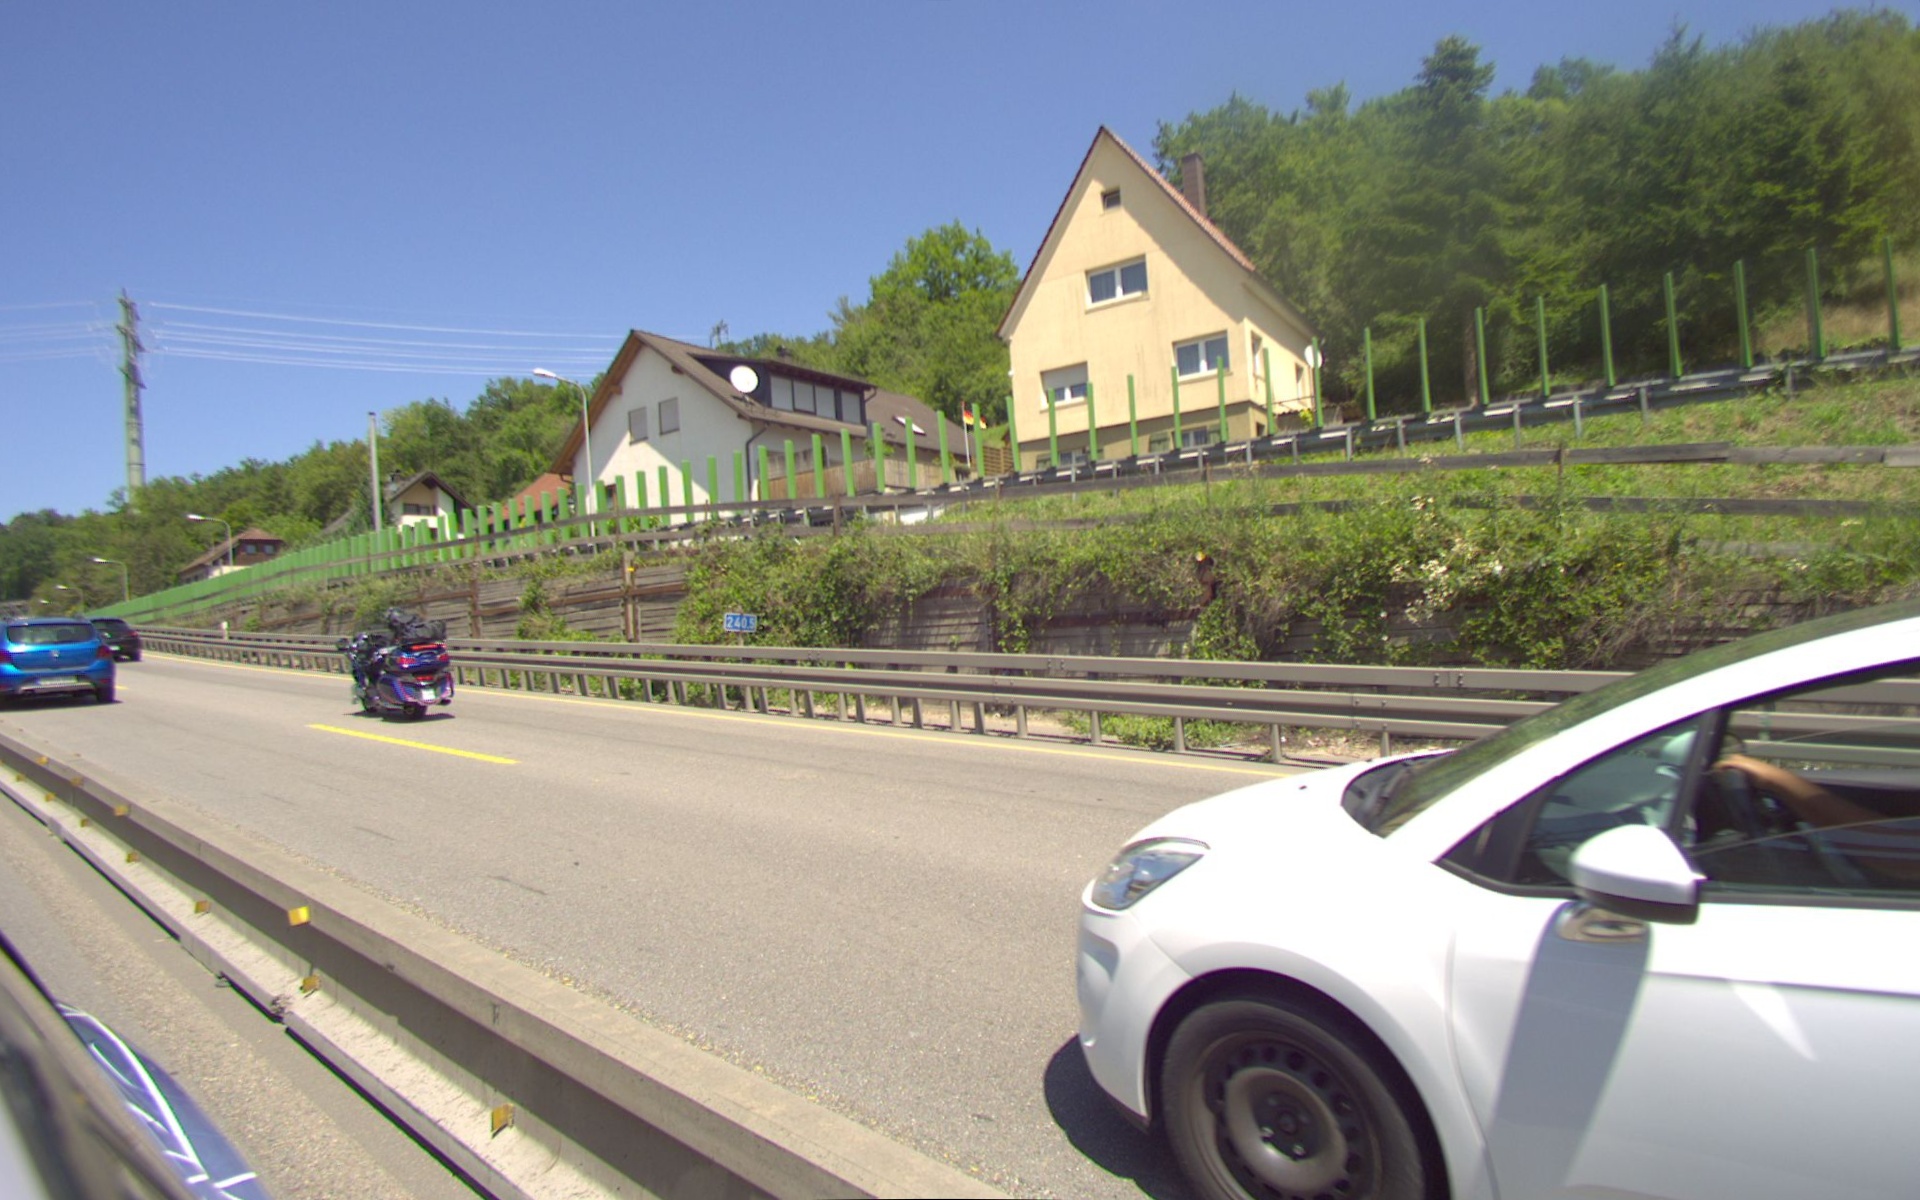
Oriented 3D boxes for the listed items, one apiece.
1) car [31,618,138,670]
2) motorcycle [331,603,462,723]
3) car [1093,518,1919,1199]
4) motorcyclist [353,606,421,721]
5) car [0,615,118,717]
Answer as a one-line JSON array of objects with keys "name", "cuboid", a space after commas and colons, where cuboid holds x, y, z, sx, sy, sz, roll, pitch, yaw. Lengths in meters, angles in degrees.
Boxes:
[{"name": "car", "cuboid": [-28.191, 1.360, 32.547, 5.003, 1.459, 1.796, -1, 2, 40]}, {"name": "motorcycle", "cuboid": [-8.144, 0.877, 14.551, 2.619, 1.563, 0.782, -2, -1, 41]}, {"name": "car", "cuboid": [2.360, 0.613, 1.845, 3.862, 1.497, 1.748, -1, -1, 40]}, {"name": "motorcyclist", "cuboid": [-8.272, 0.884, 14.614, 0.736, 1.597, 0.658, -1, 0, 41]}, {"name": "car", "cuboid": [-16.702, 1.120, 18.193, 3.888, 1.622, 1.746, -1, -1, 40]}]
